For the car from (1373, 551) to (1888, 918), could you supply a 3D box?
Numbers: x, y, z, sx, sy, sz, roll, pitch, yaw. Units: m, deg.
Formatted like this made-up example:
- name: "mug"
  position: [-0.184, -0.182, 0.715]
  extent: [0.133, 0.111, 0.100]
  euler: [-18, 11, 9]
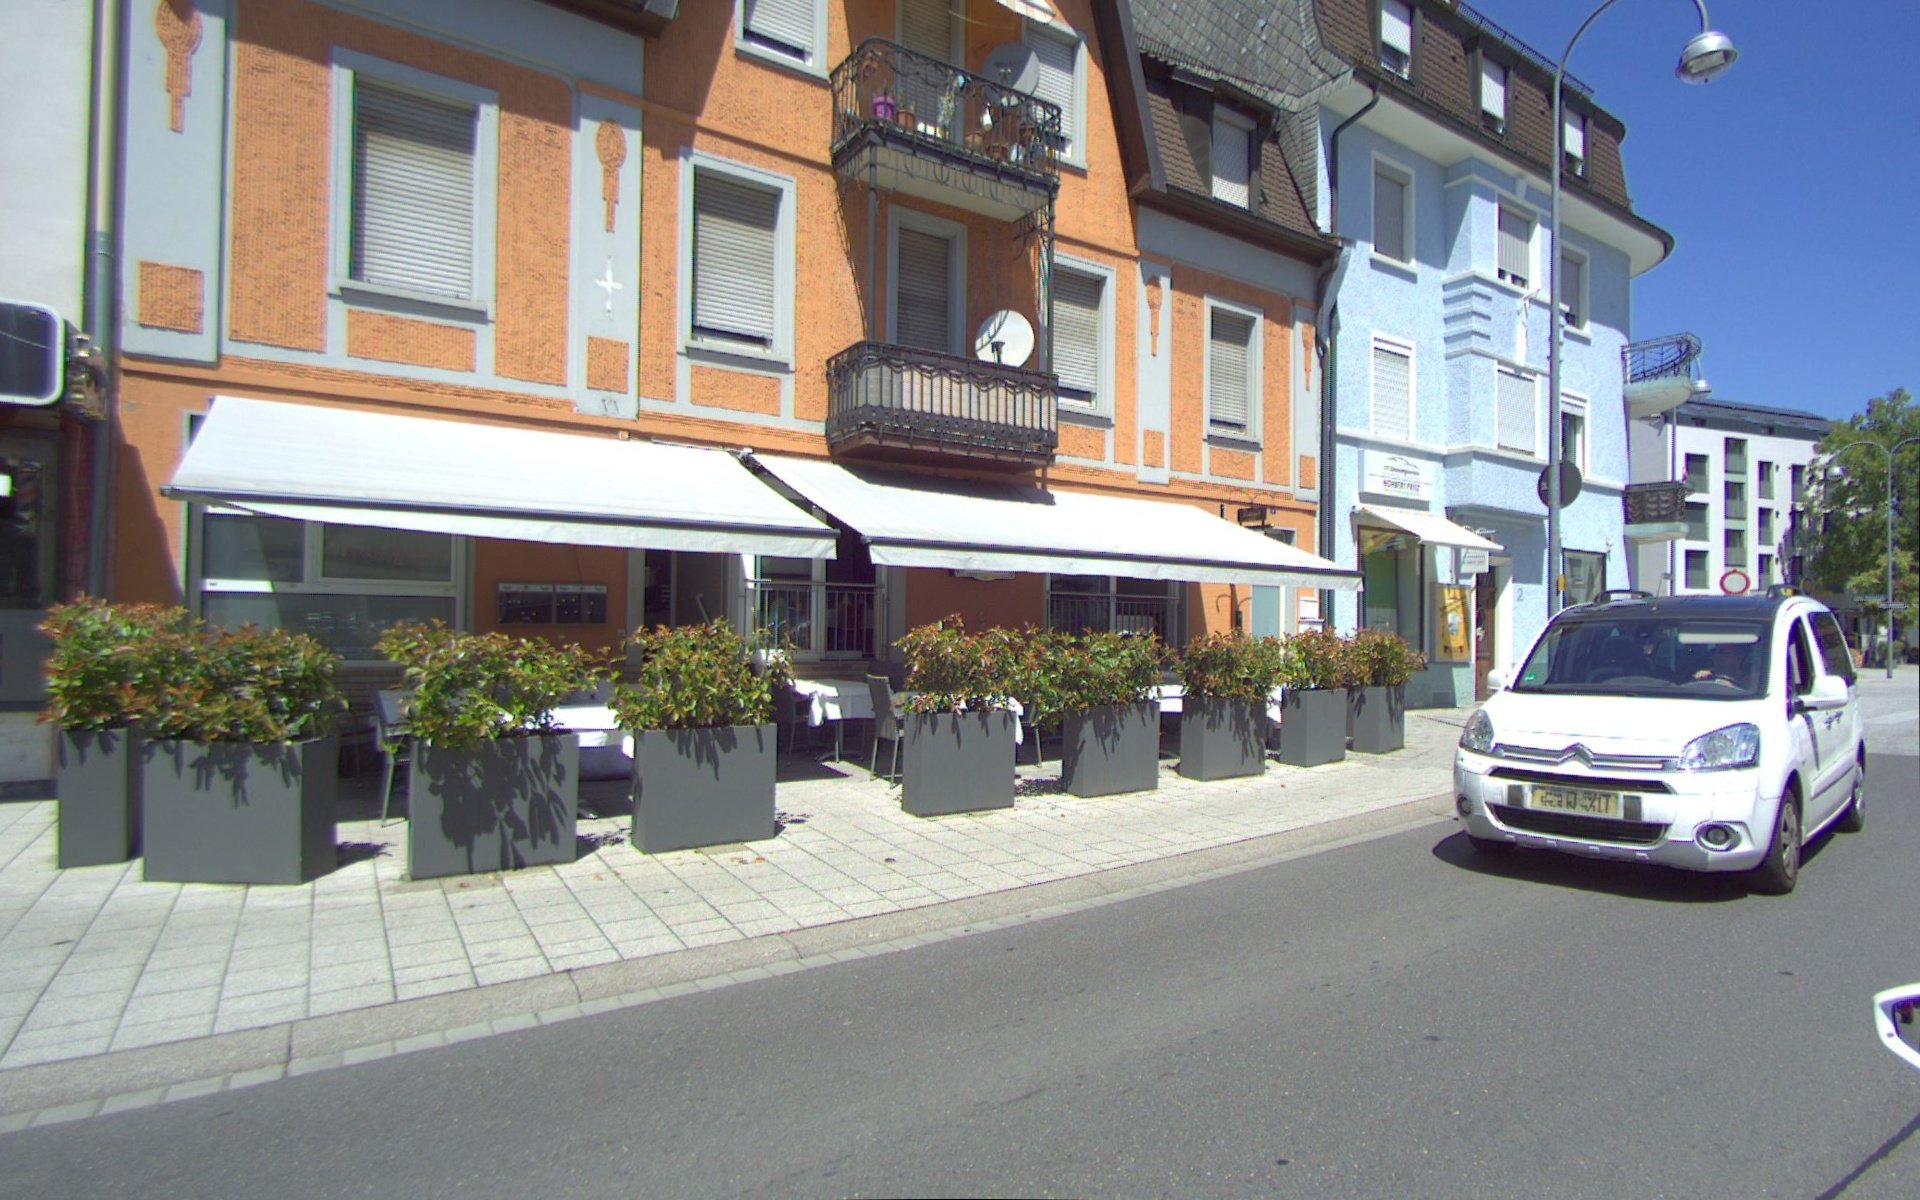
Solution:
- name: "car"
  position: [5.013, 0.771, 7.267]
  extent: [4.381, 1.846, 1.977]
  euler: [2, -3, -41]

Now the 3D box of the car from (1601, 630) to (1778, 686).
- name: "car"
  position: [22.860, 1.864, 31.692]
  extent: [1.782, 1.567, 4.248]
  euler: [-1, -4, -18]
